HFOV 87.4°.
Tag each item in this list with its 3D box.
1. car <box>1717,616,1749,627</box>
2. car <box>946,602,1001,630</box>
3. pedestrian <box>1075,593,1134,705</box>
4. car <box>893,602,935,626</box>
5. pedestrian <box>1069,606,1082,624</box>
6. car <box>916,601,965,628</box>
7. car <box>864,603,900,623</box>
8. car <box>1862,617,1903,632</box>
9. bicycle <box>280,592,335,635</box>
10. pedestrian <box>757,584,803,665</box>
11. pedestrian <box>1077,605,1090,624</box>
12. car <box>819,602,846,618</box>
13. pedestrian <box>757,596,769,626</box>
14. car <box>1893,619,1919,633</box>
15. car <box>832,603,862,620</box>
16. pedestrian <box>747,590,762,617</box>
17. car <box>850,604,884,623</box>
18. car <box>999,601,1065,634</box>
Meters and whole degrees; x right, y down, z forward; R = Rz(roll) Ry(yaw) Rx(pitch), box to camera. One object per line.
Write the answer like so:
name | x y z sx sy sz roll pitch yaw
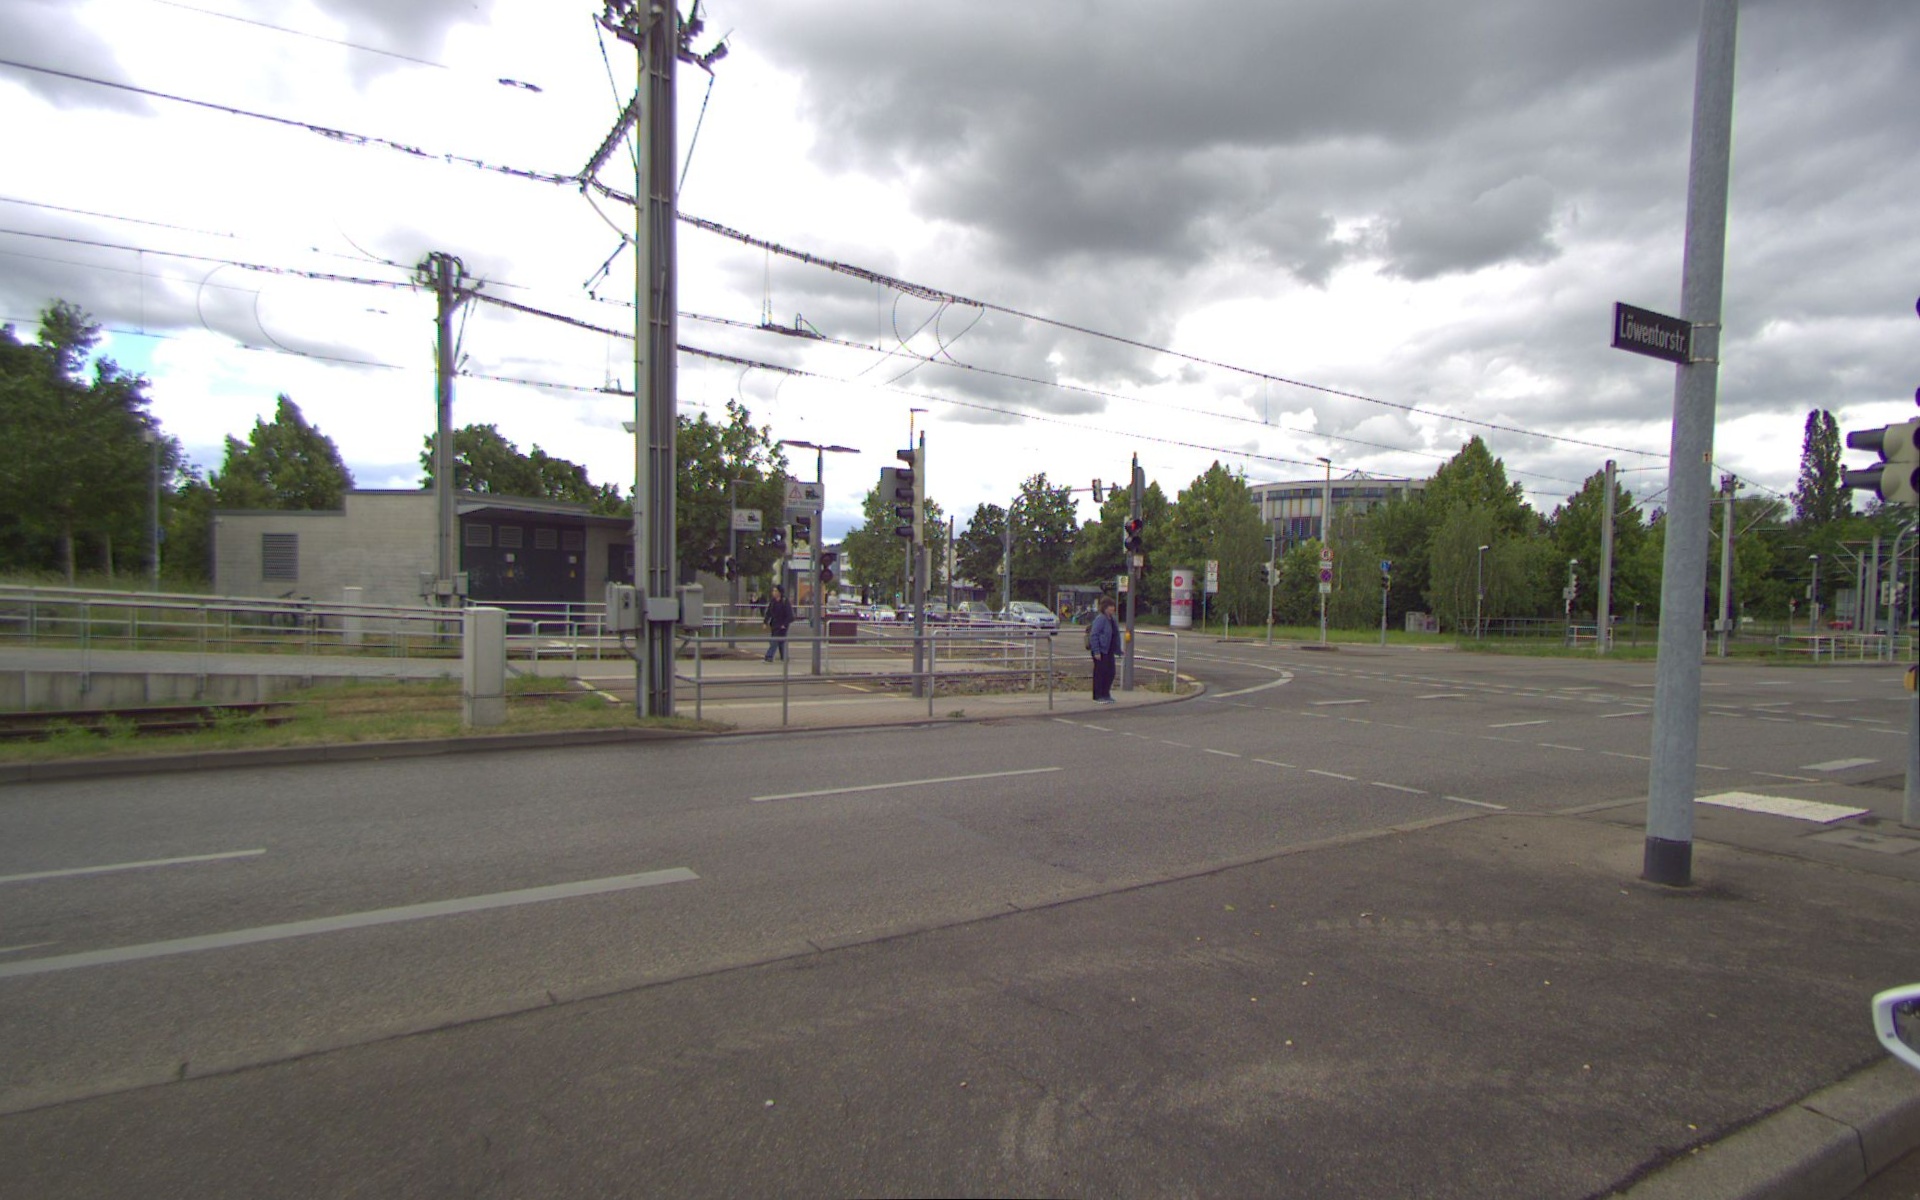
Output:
car | 115.650 3.167 150.248 1.748 1.567 4.025 1 0 2
car | 0.689 0.845 53.670 1.706 1.456 3.731 1 0 -20
pedestrian | 2.127 0.703 14.770 0.701 1.584 0.533 1 1 -44
car | -3.004 0.890 64.932 1.706 1.456 3.731 1 0 -20
pedestrian | 8.389 1.084 72.909 0.652 1.321 0.780 1 0 -16
car | -1.150 0.818 58.166 1.706 1.456 3.731 1 0 -20
car | -5.813 0.965 74.782 1.706 1.456 3.731 1 0 -20
car | 100.020 2.640 108.962 1.752 1.465 4.526 -1 0 22
bicycle | -17.328 0.346 26.678 1.452 1.101 0.492 1 0 22
pedestrian | -3.719 0.490 20.709 0.653 1.628 0.698 1 1 -41
pedestrian | 8.822 1.018 71.703 0.652 1.322 0.780 1 0 -16
car | -11.931 0.965 94.073 1.706 1.456 3.731 1 0 -20
pedestrian | -13.275 0.727 67.734 0.738 1.993 0.795 1 0 -9
car | 114.413 3.122 120.407 1.747 1.567 4.027 1 0 8
car | -9.768 0.990 86.717 1.706 1.456 3.731 1 0 -20
pedestrian | -12.610 0.228 61.687 0.771 1.649 0.660 1 0 -22
car | -7.418 1.026 79.685 1.706 1.456 3.991 1 0 -20
car | 3.302 0.801 46.810 1.706 1.456 3.731 1 0 -20
